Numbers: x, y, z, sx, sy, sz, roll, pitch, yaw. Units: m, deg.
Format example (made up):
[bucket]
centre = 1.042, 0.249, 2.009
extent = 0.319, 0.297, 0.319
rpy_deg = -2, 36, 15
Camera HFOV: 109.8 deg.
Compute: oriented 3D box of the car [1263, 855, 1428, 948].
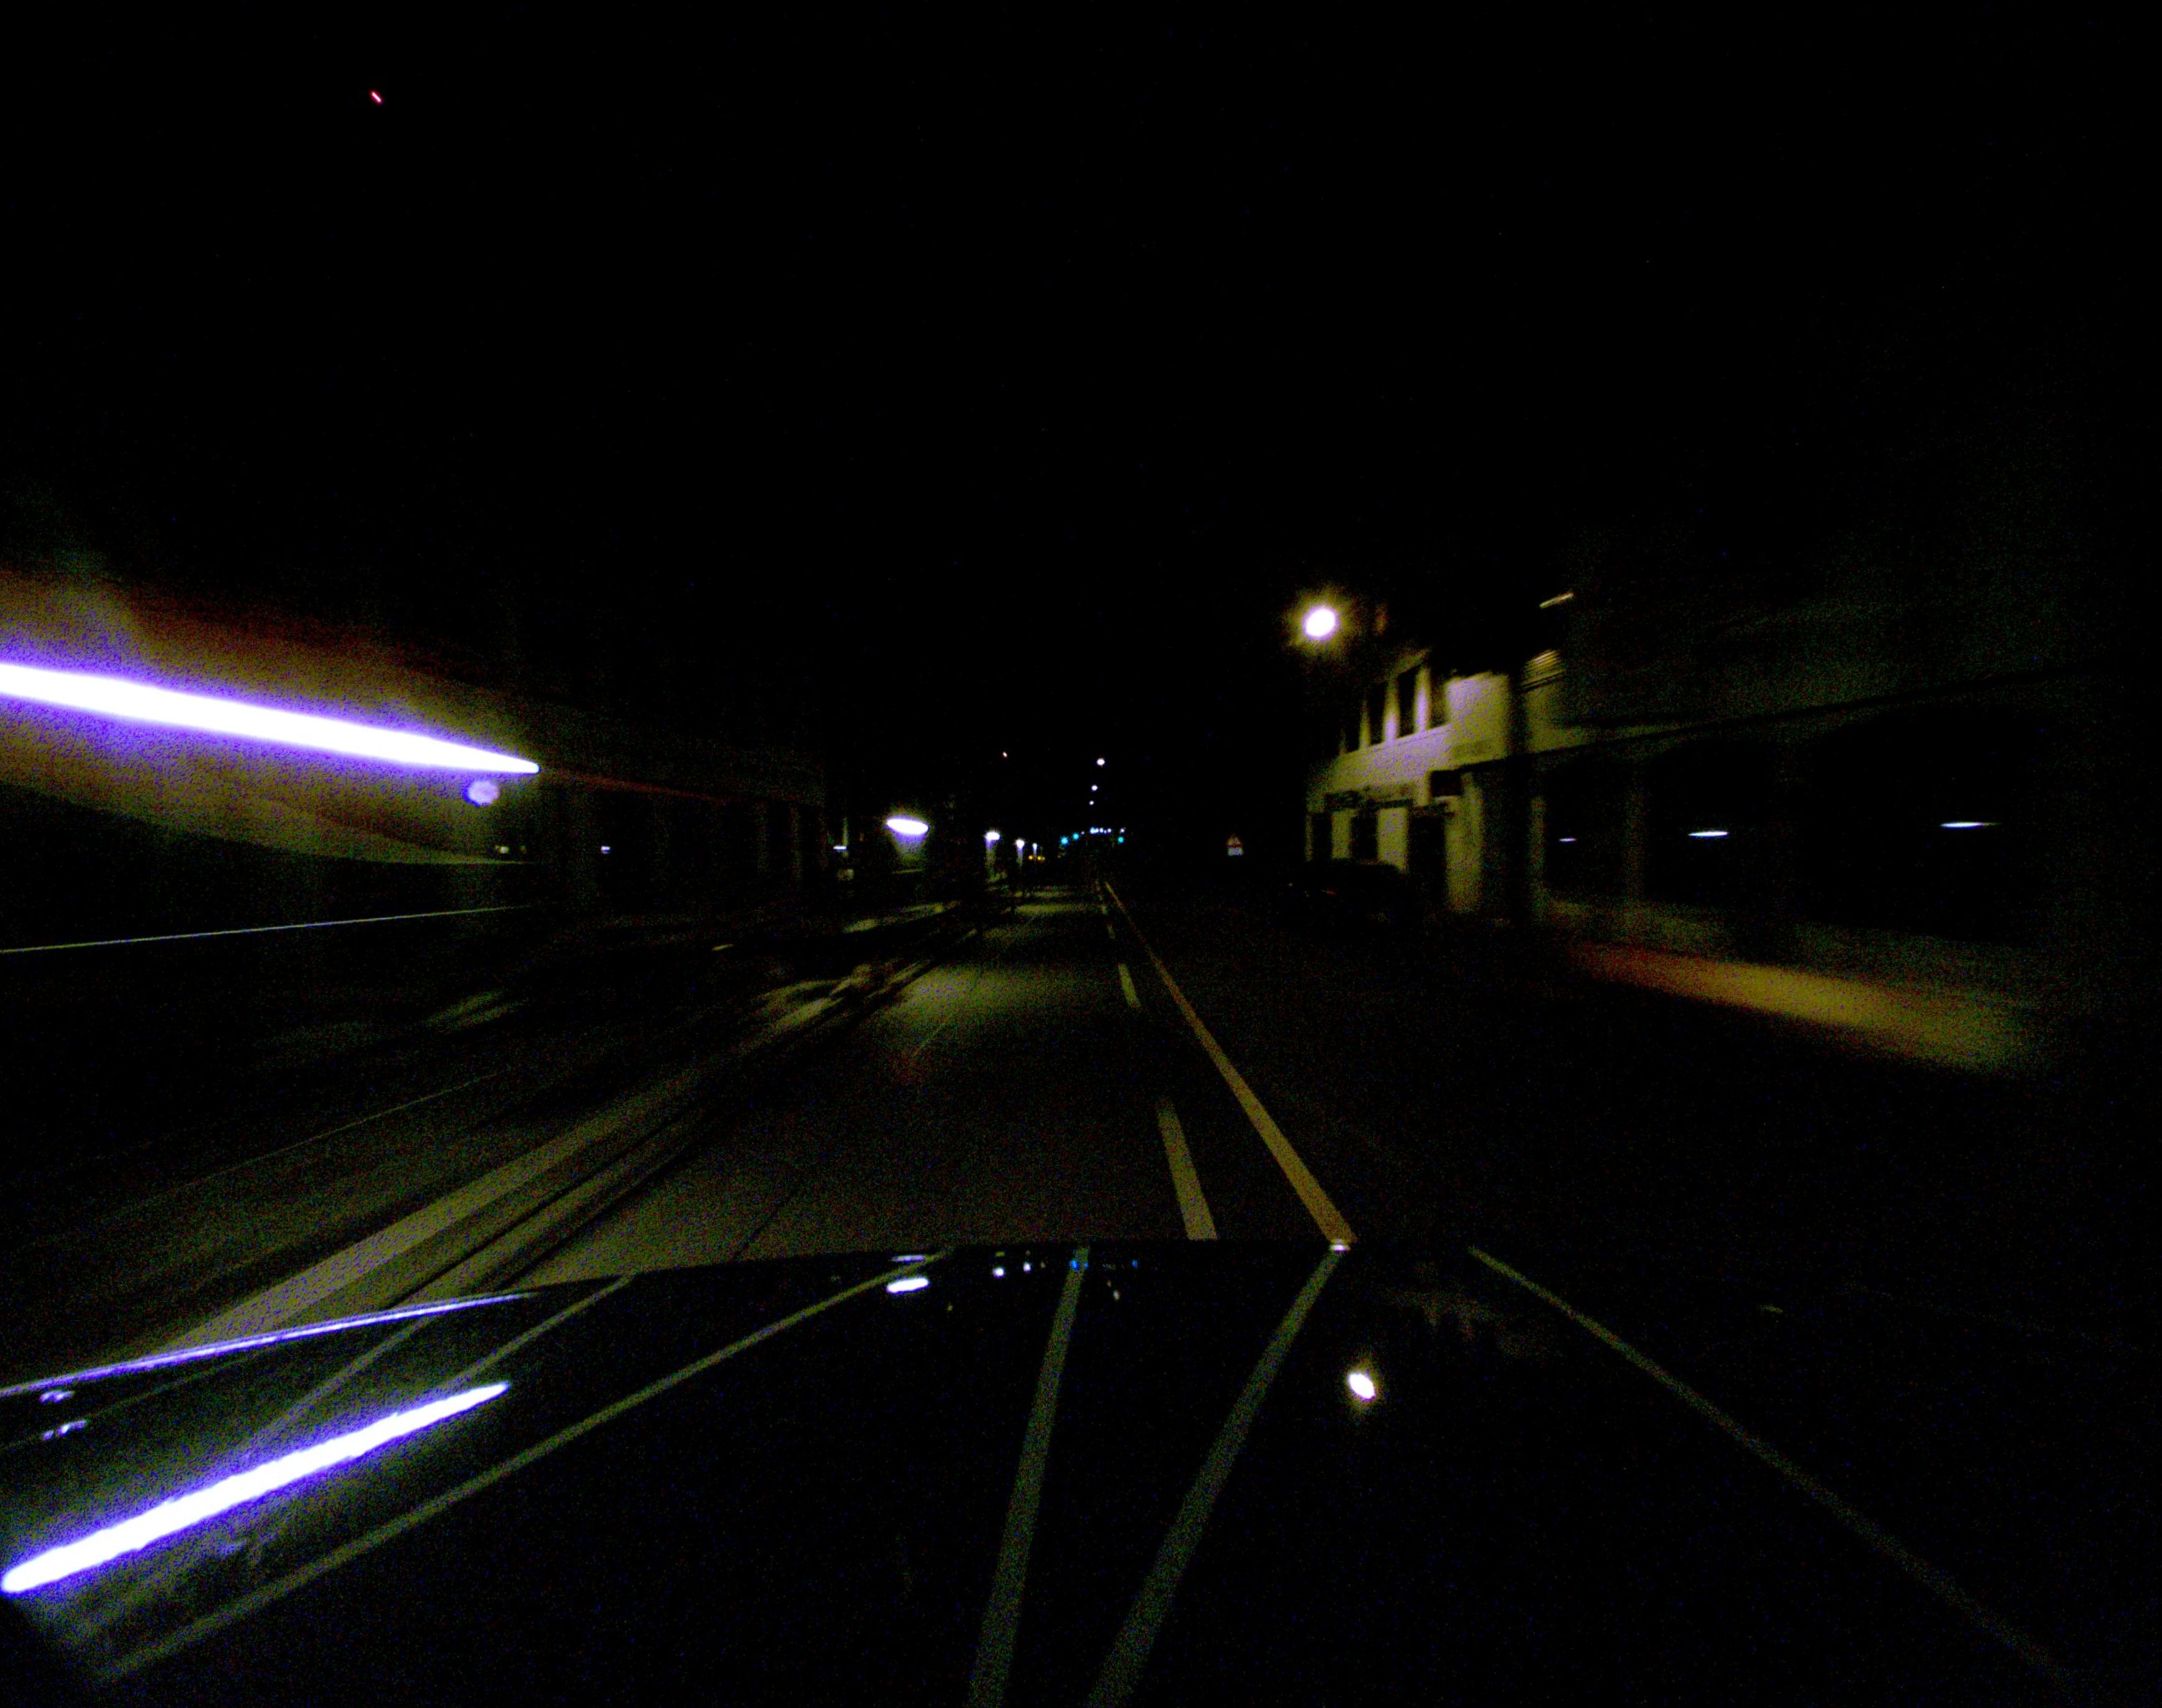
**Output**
[car]
centre = 5.044, 0.814, 15.140
extent = 1.731, 1.477, 4.290
rpy_deg = -2, 1, 0
